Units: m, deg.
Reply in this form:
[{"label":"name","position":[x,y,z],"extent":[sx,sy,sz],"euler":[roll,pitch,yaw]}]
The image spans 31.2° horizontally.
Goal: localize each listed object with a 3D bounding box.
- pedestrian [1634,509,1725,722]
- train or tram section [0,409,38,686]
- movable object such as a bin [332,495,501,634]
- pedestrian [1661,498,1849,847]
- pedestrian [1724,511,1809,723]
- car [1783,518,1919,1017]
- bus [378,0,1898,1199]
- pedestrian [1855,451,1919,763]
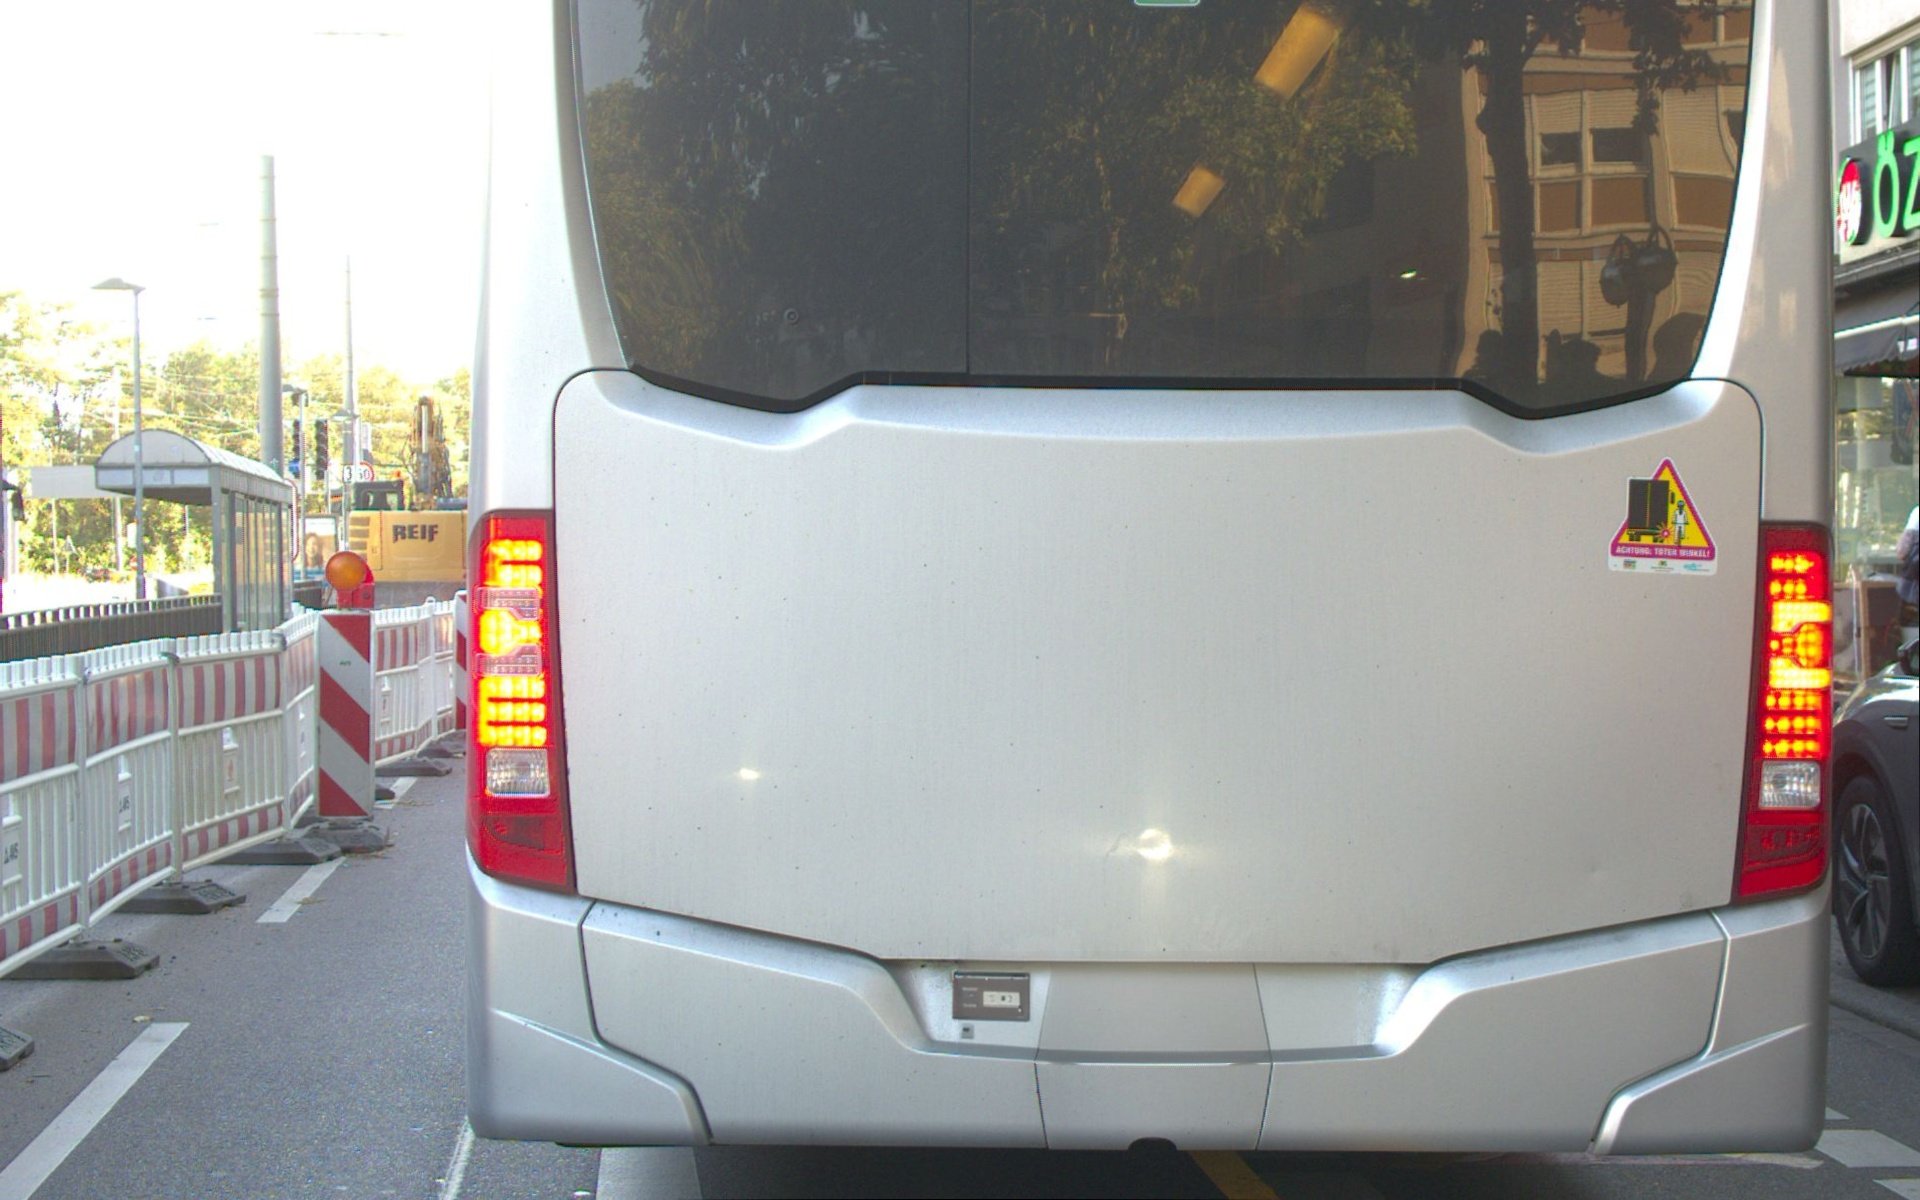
[{"label":"pedestrian","position":[6.892,0.144,32.963],"extent":[0.691,2.007,0.696],"euler":[-1,0,-1]},{"label":"train or tram section","position":[-13.214,-0.636,41.276],"extent":[2.815,3.475,10.341],"euler":[-1,1,-8]},{"label":"movable object such as a bin","position":[-9.990,-0.656,63.485],"extent":[2.806,2.453,4.001],"euler":[-1,1,-5]},{"label":"pedestrian","position":[4.010,0.355,17.374],"extent":[0.752,1.720,0.661],"euler":[-1,0,-3]},{"label":"pedestrian","position":[7.716,0.159,32.913],"extent":[0.612,2.007,0.696],"euler":[-1,0,-1]},{"label":"car","position":[3.999,0.510,10.066],"extent":[1.739,1.592,4.300],"euler":[-3,1,-5]},{"label":"bus","position":[0.284,-0.267,11.054],"extent":[2.608,3.159,10.292],"euler":[0,1,0]},{"label":"pedestrian","position":[6.388,0.032,22.529],"extent":[0.769,2.007,0.714],"euler":[-2,0,-1]}]
